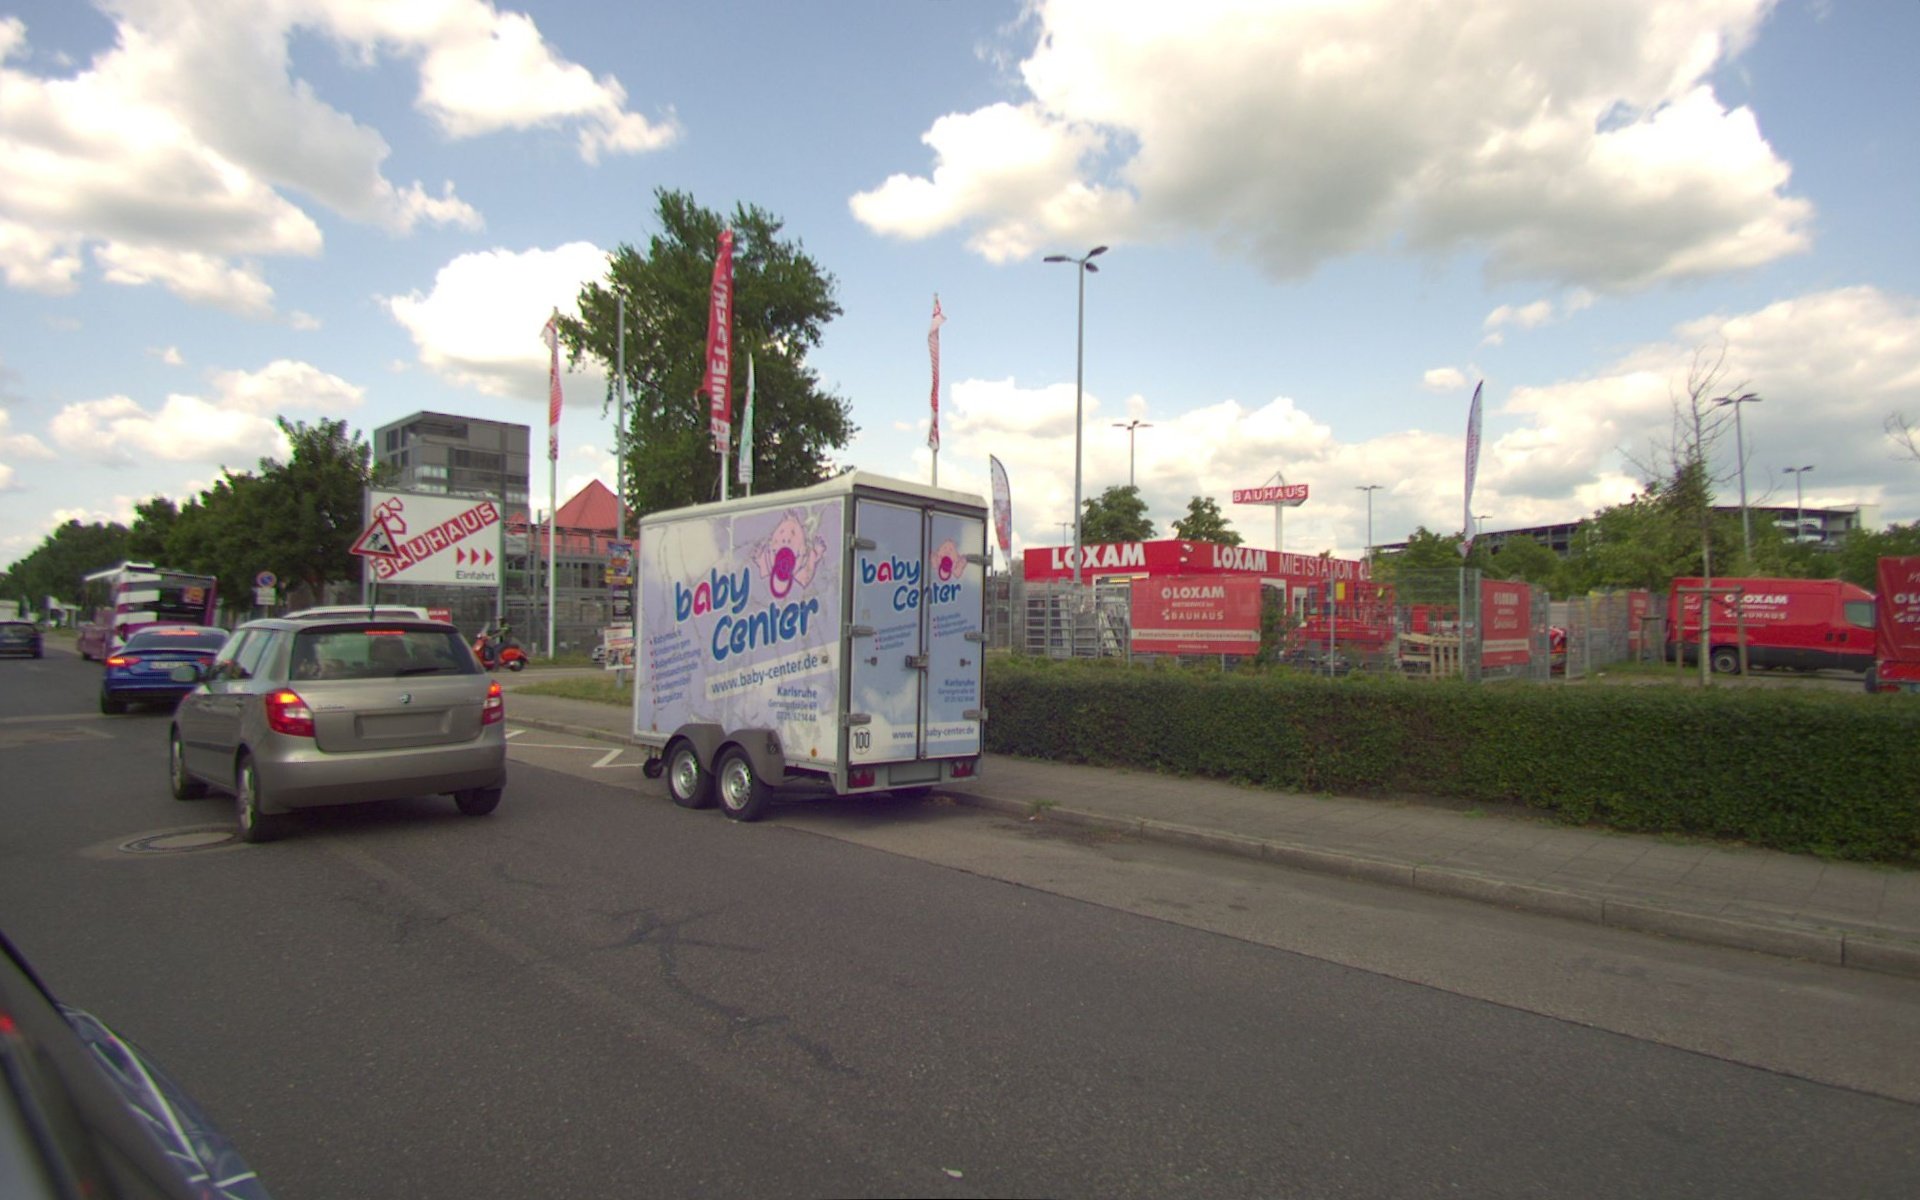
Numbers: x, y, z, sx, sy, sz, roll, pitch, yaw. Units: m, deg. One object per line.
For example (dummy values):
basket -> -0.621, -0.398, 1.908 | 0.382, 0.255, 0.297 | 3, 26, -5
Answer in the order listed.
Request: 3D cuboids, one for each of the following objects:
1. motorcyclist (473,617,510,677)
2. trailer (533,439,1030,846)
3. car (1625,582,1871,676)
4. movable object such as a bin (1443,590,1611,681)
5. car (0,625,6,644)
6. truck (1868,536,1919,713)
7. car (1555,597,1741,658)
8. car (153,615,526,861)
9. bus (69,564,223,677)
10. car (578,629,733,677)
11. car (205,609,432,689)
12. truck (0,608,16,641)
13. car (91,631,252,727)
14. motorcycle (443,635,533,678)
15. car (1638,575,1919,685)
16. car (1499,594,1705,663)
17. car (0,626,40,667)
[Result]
motorcyclist -> -13.918, 1.391, 30.069 | 0.666, 1.736, 0.995 | 2, -3, -45
trailer -> -1.852, 0.381, 9.380 | 4.704, 2.804, 2.115 | -2, -4, 44
car -> 24.003, 0.796, 31.025 | 2.240, 2.613, 5.727 | 1, 0, -45
movable object such as a bin -> 15.311, 0.933, 27.411 | 3.547, 2.292, 1.971 | -2, -2, 45
car -> -74.830, 2.627, 77.983 | 3.613, 1.481, 1.664 | -2, -3, 44
truck -> 16.481, 0.413, 16.684 | 5.687, 2.613, 1.817 | 1, 0, -44
car -> 30.116, 1.123, 44.489 | 6.441, 2.433, 2.241 | 1, 0, 44
car -> -5.016, 0.895, 7.971 | 3.762, 1.476, 1.573 | -2, -3, 44
bus -> -30.028, 0.817, 36.991 | 13.223, 3.449, 2.633 | -1, -6, 45
car -> -10.166, 1.732, 33.985 | 4.630, 1.465, 1.956 | 1, -2, -45
car -> -17.178, 1.259, 27.259 | 4.938, 1.964, 1.995 | 1, -2, -40
truck -> -109.970, 2.750, 115.509 | 7.173, 3.751, 2.717 | -1, -3, 44
car -> -13.191, 1.219, 17.058 | 1.898, 1.387, 4.389 | 1, -2, -37
motorcycle -> -13.981, 1.644, 30.011 | 0.995, 1.223, 2.196 | -2, -3, 45
car -> 21.970, 0.700, 26.723 | 2.240, 2.613, 6.442 | 1, 0, -45
car -> 24.806, 1.024, 39.332 | 6.441, 2.433, 2.241 | 1, 0, 44
car -> -36.243, 1.741, 38.358 | 1.775, 1.470, 4.387 | 3, -4, -45
